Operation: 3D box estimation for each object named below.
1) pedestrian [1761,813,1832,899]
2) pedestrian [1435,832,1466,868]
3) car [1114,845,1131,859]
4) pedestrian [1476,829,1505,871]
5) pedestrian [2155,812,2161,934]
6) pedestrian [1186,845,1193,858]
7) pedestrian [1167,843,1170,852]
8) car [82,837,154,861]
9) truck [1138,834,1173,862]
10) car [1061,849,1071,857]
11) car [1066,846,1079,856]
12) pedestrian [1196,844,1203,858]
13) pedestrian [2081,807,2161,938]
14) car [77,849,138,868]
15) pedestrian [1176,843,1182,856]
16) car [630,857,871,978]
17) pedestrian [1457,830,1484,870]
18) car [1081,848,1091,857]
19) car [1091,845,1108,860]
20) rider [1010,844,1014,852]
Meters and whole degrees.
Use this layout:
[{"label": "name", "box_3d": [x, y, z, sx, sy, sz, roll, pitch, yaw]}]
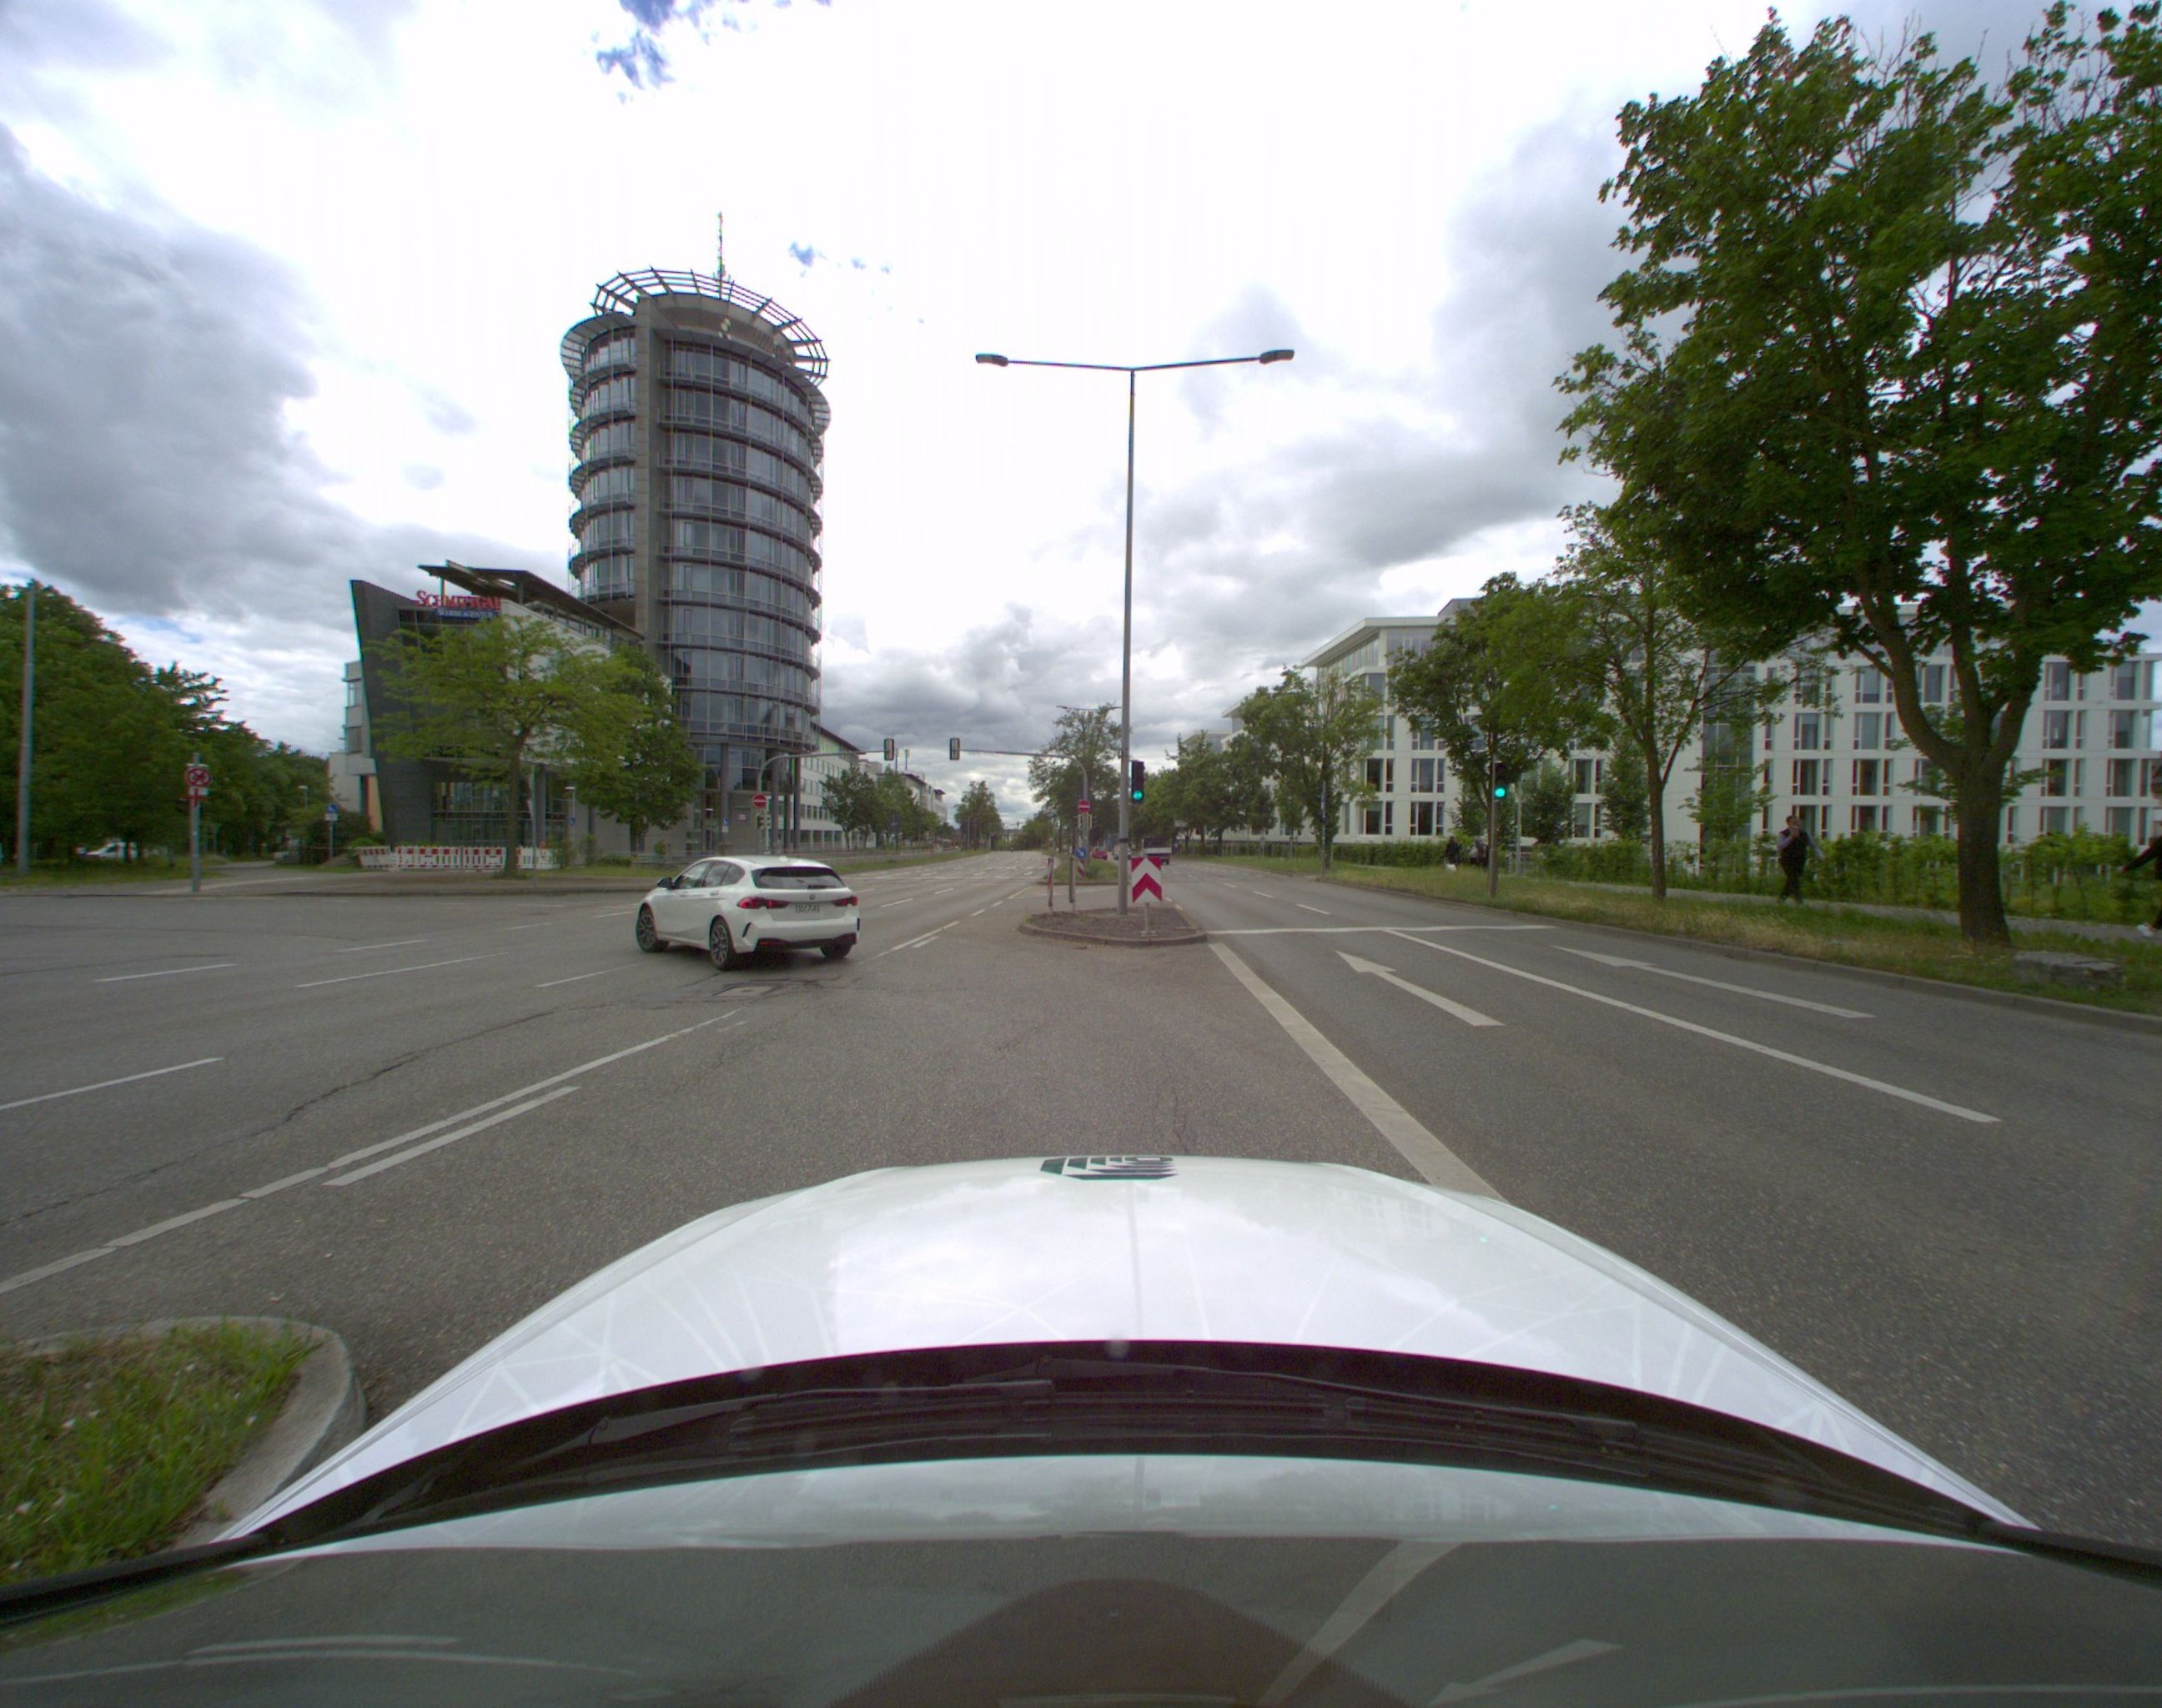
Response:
[{"label": "pedestrian", "box_3d": [13.356, 0.043, 15.219, 0.738, 1.574, 0.675, 0, -1, 3]}, {"label": "pedestrian", "box_3d": [14.963, -0.155, 33.018, 0.786, 1.448, 1.113, 0, -1, 4]}, {"label": "car", "box_3d": [4.723, -0.259, 93.137, 1.710, 1.555, 4.089, 0, 0, 0]}, {"label": "pedestrian", "box_3d": [16.512, -0.162, 32.868, 0.764, 1.685, 0.884, 0, -1, 4]}, {"label": "pedestrian", "box_3d": [15.018, 0.261, 10.629, 0.773, 1.660, 0.955, 0, 0, 10]}, {"label": "pedestrian", "box_3d": [16.398, -0.393, 123.205, 0.762, 2.014, 0.751, 0, -1, -10]}, {"label": "pedestrian", "box_3d": [15.131, -1.065, 140.758, 0.560, 1.559, 0.555, 0, -1, -7]}, {"label": "car", "box_3d": [-36.026, -0.192, 30.509, 0.766, 0.876, 1.729, 0, 0, 41]}, {"label": "truck", "box_3d": [6.268, -0.507, 69.122, 2.206, 2.203, 5.837, 0, 0, -3]}, {"label": "car", "box_3d": [-3.240, -0.183, 170.731, 1.888, 1.596, 4.307, 0, 0, -4]}, {"label": "car", "box_3d": [-1.390, -0.479, 132.765, 1.850, 1.596, 4.309, -1, 0, -3]}, {"label": "pedestrian", "box_3d": [16.845, -0.389, 115.719, 0.849, 2.013, 0.603, 0, 0, -11]}, {"label": "pedestrian", "box_3d": [14.241, 0.234, 10.775, 0.791, 1.660, 1.062, 0, 0, 10]}, {"label": "car", "box_3d": [-123.837, 0.568, 103.644, 1.977, 2.339, 4.573, 0, 0, 19]}, {"label": "pedestrian", "box_3d": [14.977, -0.643, 124.918, 0.762, 2.014, 0.751, 0, -1, -10]}, {"label": "car", "box_3d": [-4.923, 0.777, 11.874, 3.950, 1.438, 1.839, 0, 0, 44]}, {"label": "pedestrian", "box_3d": [15.753, -0.158, 32.953, 0.696, 1.595, 0.884, 0, -1, 4]}, {"label": "car", "box_3d": [0.973, -0.308, 162.162, 1.850, 1.596, 4.309, -1, 0, -3]}, {"label": "car", "box_3d": [2.040, -0.170, 92.173, 1.711, 1.558, 3.855, -1, 0, -2]}, {"label": "rider", "box_3d": [-14.721, -1.232, 173.825, 0.844, 1.771, 0.807, 0, -1, -2]}]
